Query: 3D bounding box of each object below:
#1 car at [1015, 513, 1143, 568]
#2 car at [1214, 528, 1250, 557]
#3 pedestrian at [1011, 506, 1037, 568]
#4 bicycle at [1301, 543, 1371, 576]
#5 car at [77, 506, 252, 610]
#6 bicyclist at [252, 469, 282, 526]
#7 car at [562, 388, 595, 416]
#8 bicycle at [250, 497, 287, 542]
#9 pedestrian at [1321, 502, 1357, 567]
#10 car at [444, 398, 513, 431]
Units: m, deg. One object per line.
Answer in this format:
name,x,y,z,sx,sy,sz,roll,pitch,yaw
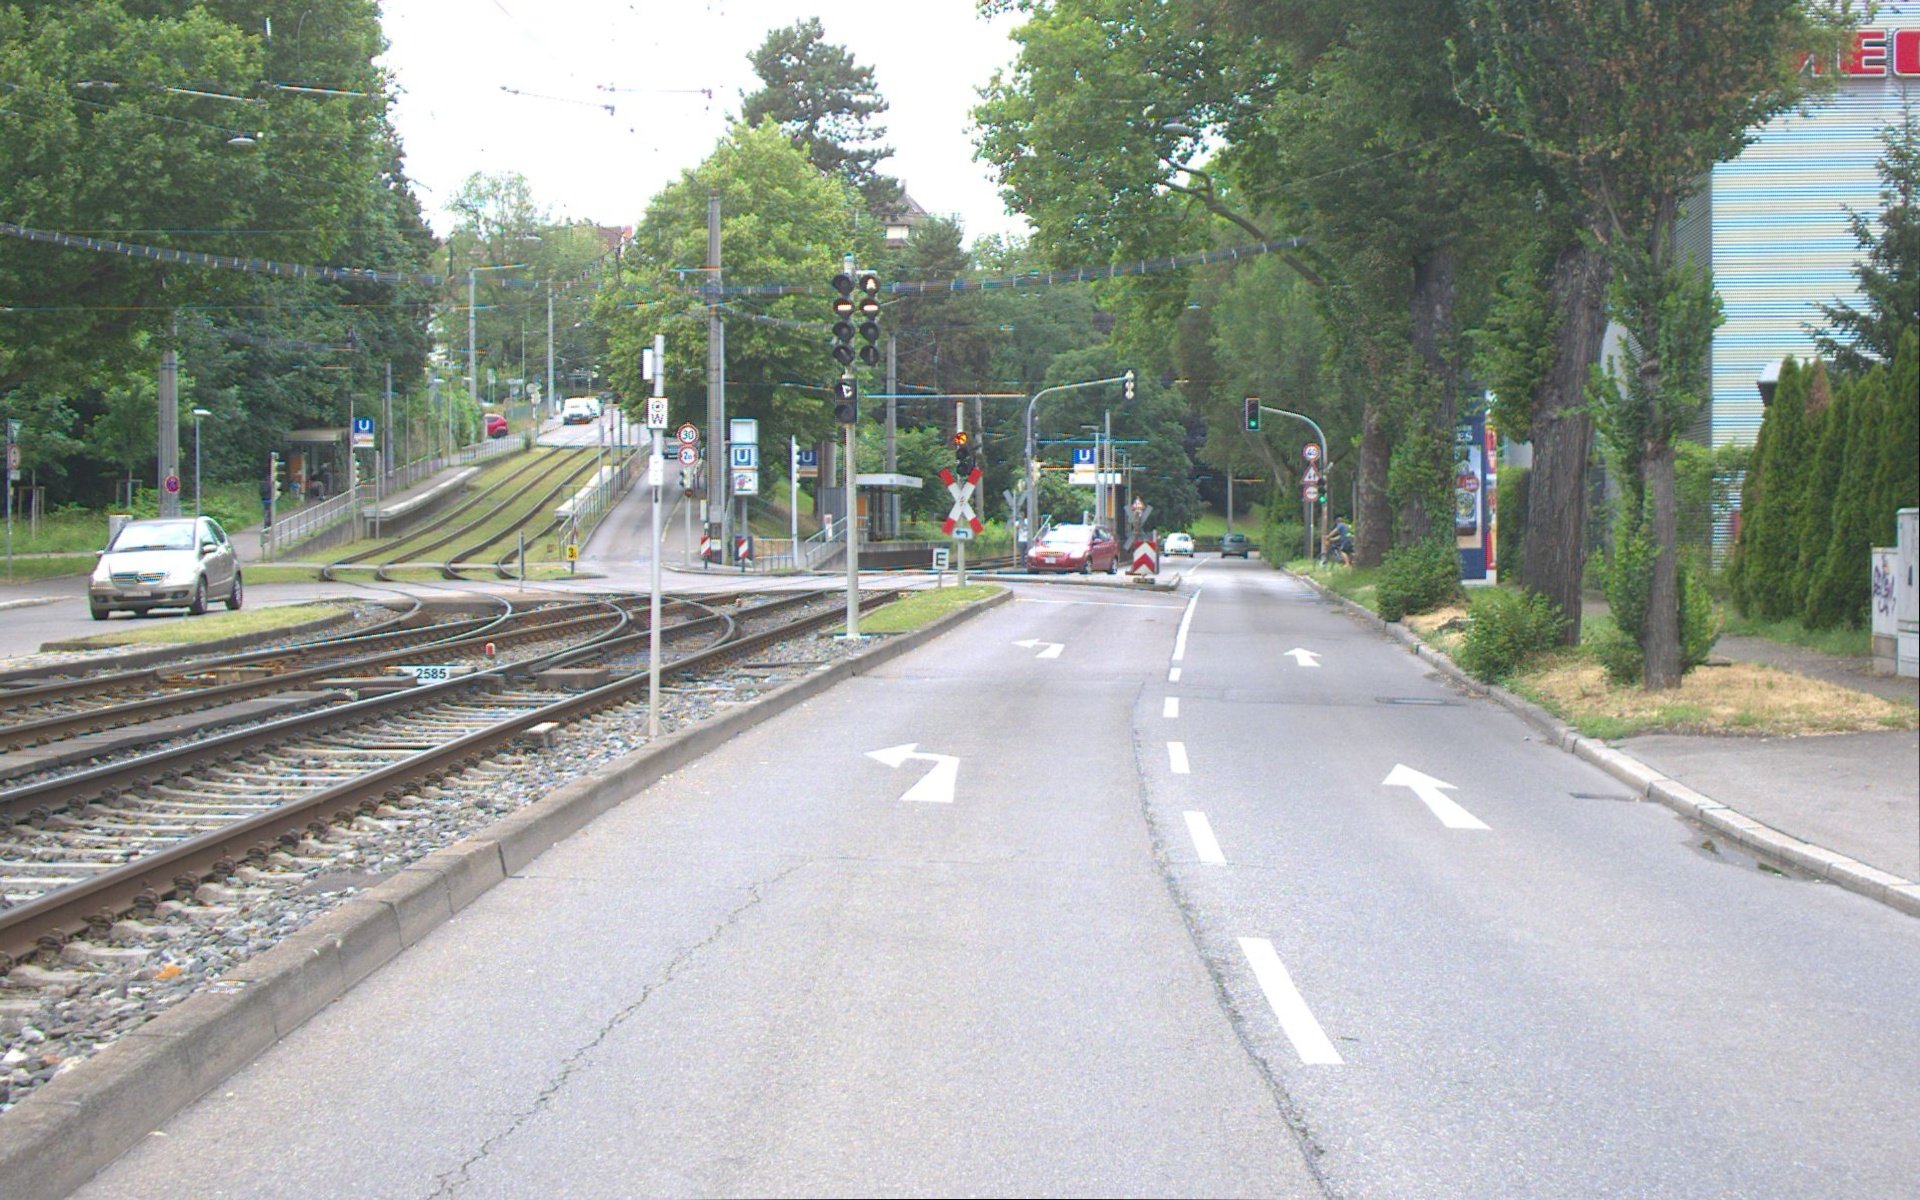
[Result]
car,3.457,-1.717,98.807,1.996,1.510,4.494,2,2,26
car,17.432,-3.684,220.716,1.993,1.809,4.000,0,2,0
pedestrian,1.943,-1.897,103.860,0.768,1.846,0.910,0,1,1
bicycle,11.681,-1.266,106.888,2.078,1.003,0.667,1,1,31
car,-12.792,-0.707,55.514,1.890,1.526,4.257,-3,2,-2
bicyclist,-22.828,-3.370,113.250,0.821,1.842,1.052,0,4,-4
car,-28.298,-14.684,255.101,1.993,2.007,4.000,0,1,0
bicycle,-22.830,-2.654,113.519,0.824,1.338,2.997,0,4,-4
pedestrian,11.776,-2.039,106.825,0.932,2.007,0.667,1,1,30
car,-30.768,-11.845,219.758,3.988,2.007,1.999,0,1,9
